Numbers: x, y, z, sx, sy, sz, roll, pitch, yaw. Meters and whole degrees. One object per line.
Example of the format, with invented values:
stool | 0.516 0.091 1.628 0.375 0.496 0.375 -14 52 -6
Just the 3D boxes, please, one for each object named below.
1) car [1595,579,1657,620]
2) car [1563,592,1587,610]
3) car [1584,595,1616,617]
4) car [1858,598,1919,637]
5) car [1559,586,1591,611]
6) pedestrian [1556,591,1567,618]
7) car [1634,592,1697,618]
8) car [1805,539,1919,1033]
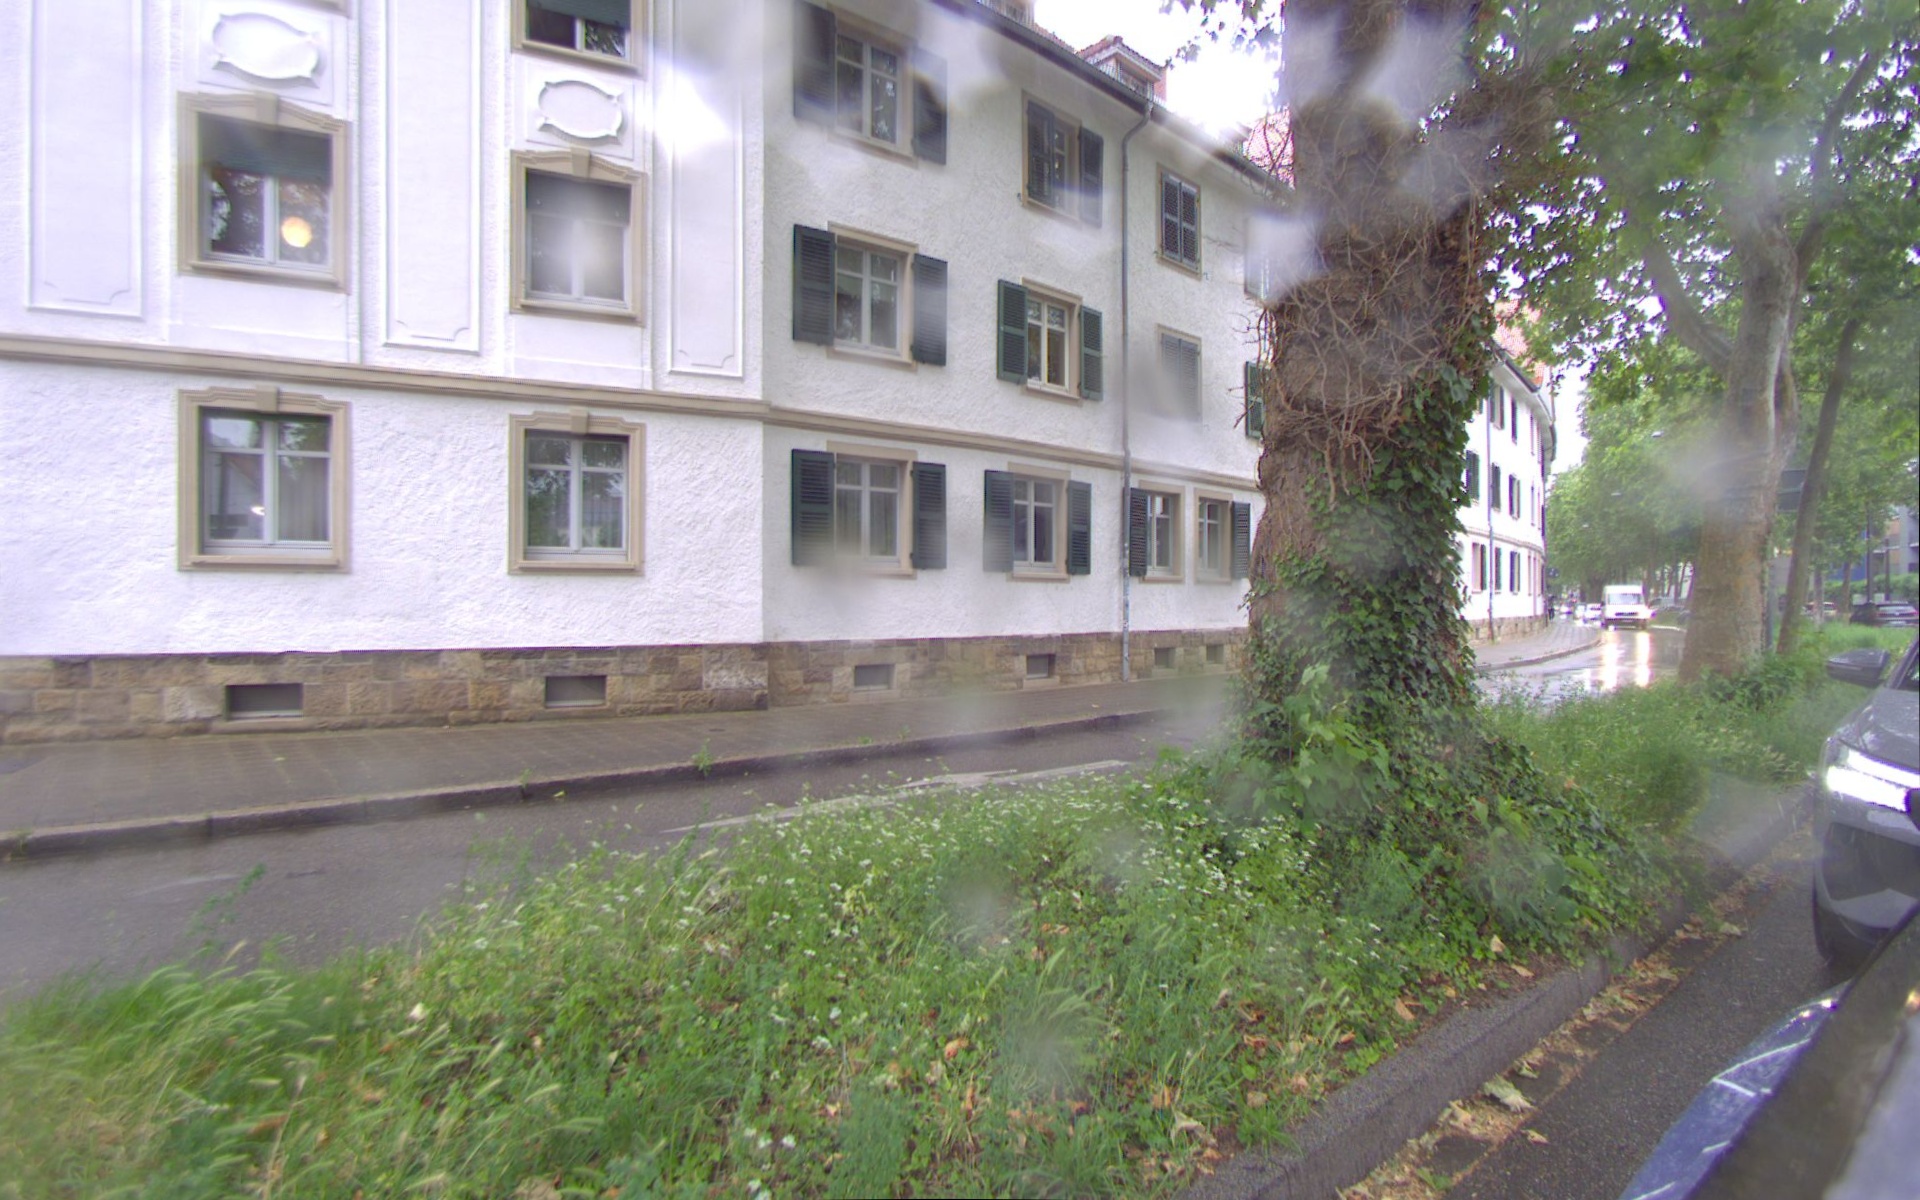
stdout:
car | 38.986 -0.026 59.346 2.173 2.292 5.367 0 0 24
car | 73.200 0.102 120.481 1.983 2.038 3.961 5 3 28
car | 48.370 0.426 76.541 1.816 1.545 3.959 0 0 29
car | 42.652 0.755 46.053 1.794 1.704 4.553 0 0 31
car | 54.157 -0.139 89.142 1.983 2.038 3.961 5 3 28
pedestrian | 41.658 0.283 70.114 0.668 1.845 0.672 0 0 31
car | 55.905 0.387 80.308 3.969 2.039 1.977 0 -1 32
car | 5.143 0.617 4.322 4.039 1.662 1.913 0 0 -44
